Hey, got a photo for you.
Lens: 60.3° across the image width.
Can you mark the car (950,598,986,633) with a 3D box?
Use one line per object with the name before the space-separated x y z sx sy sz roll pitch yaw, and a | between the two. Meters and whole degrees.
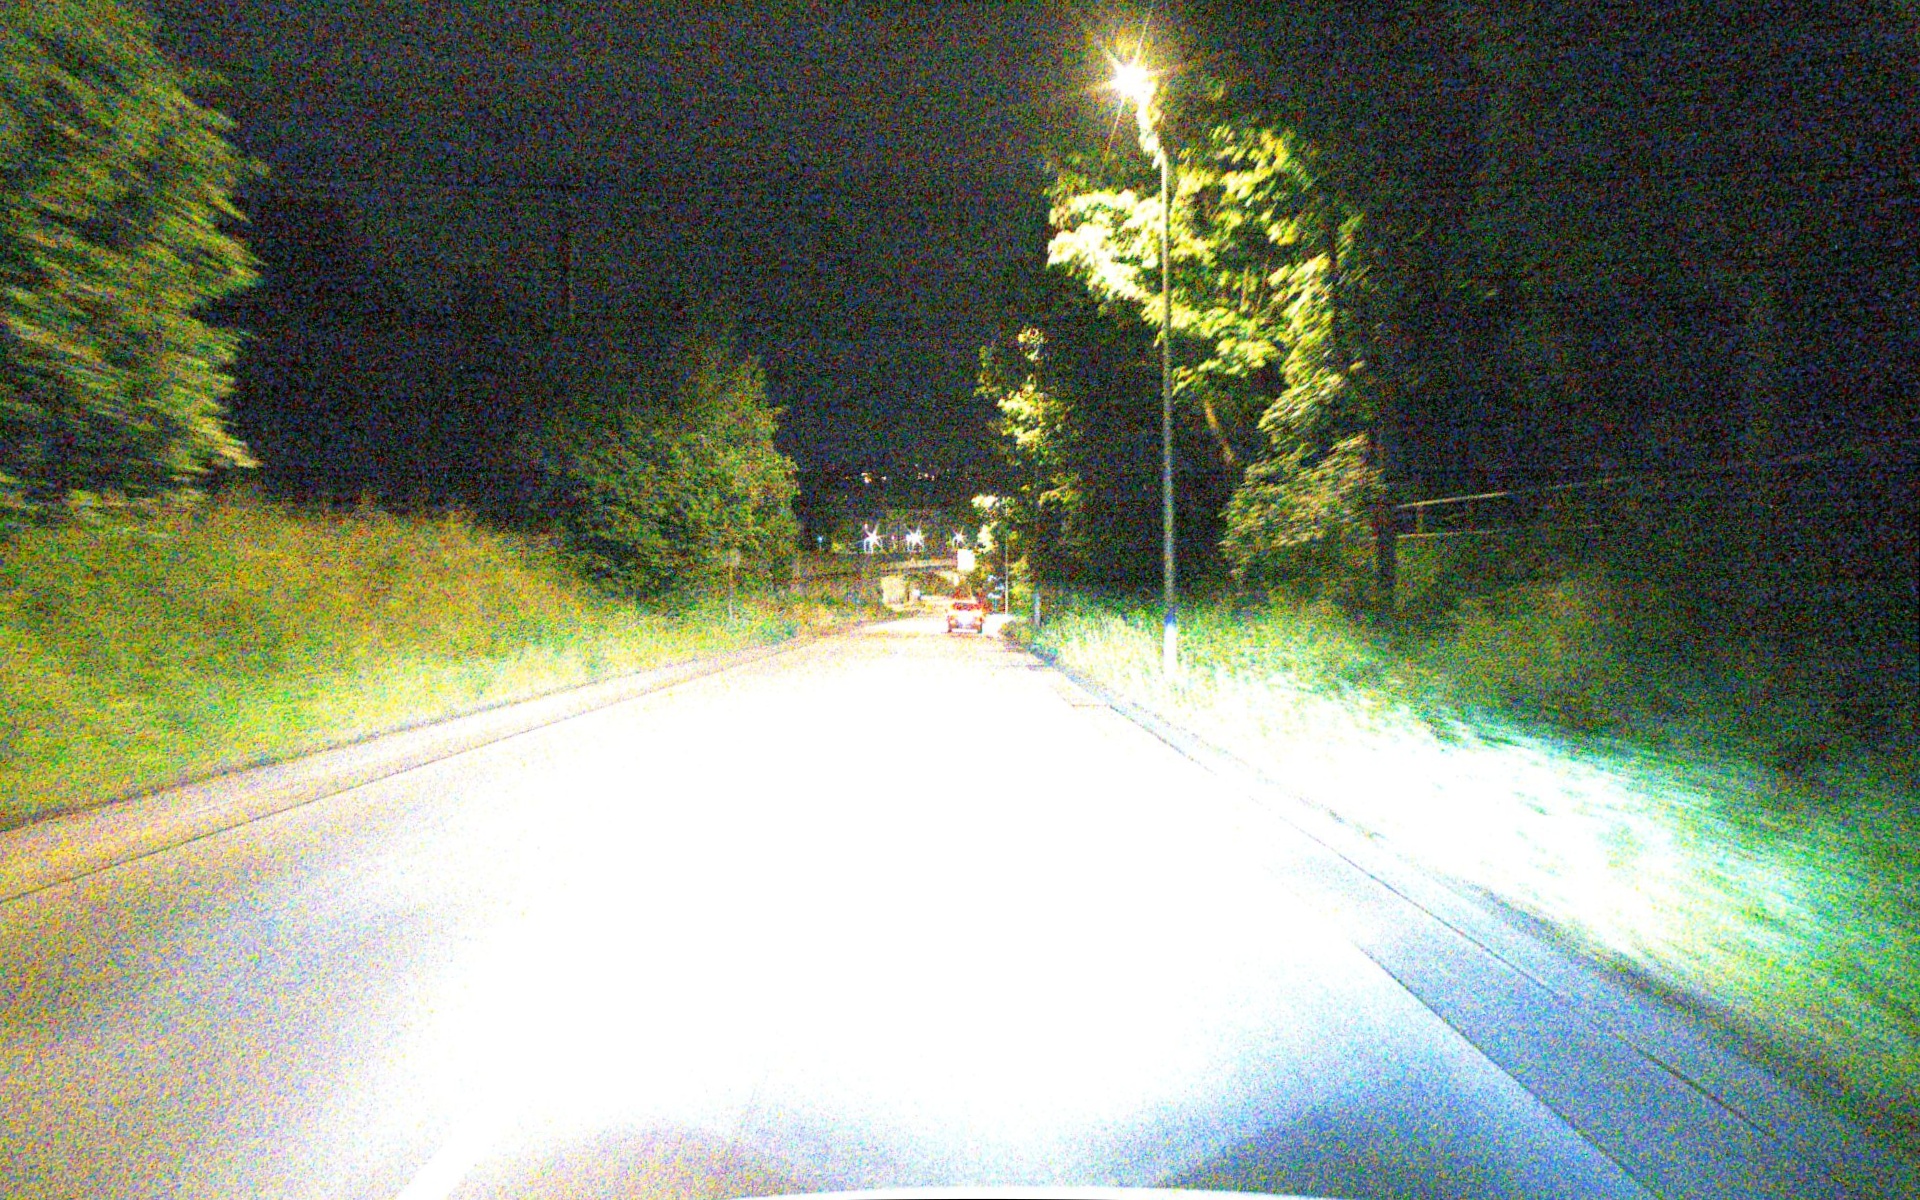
car | 0.427 0.749 83.696 1.727 1.670 3.723 1 1 1
